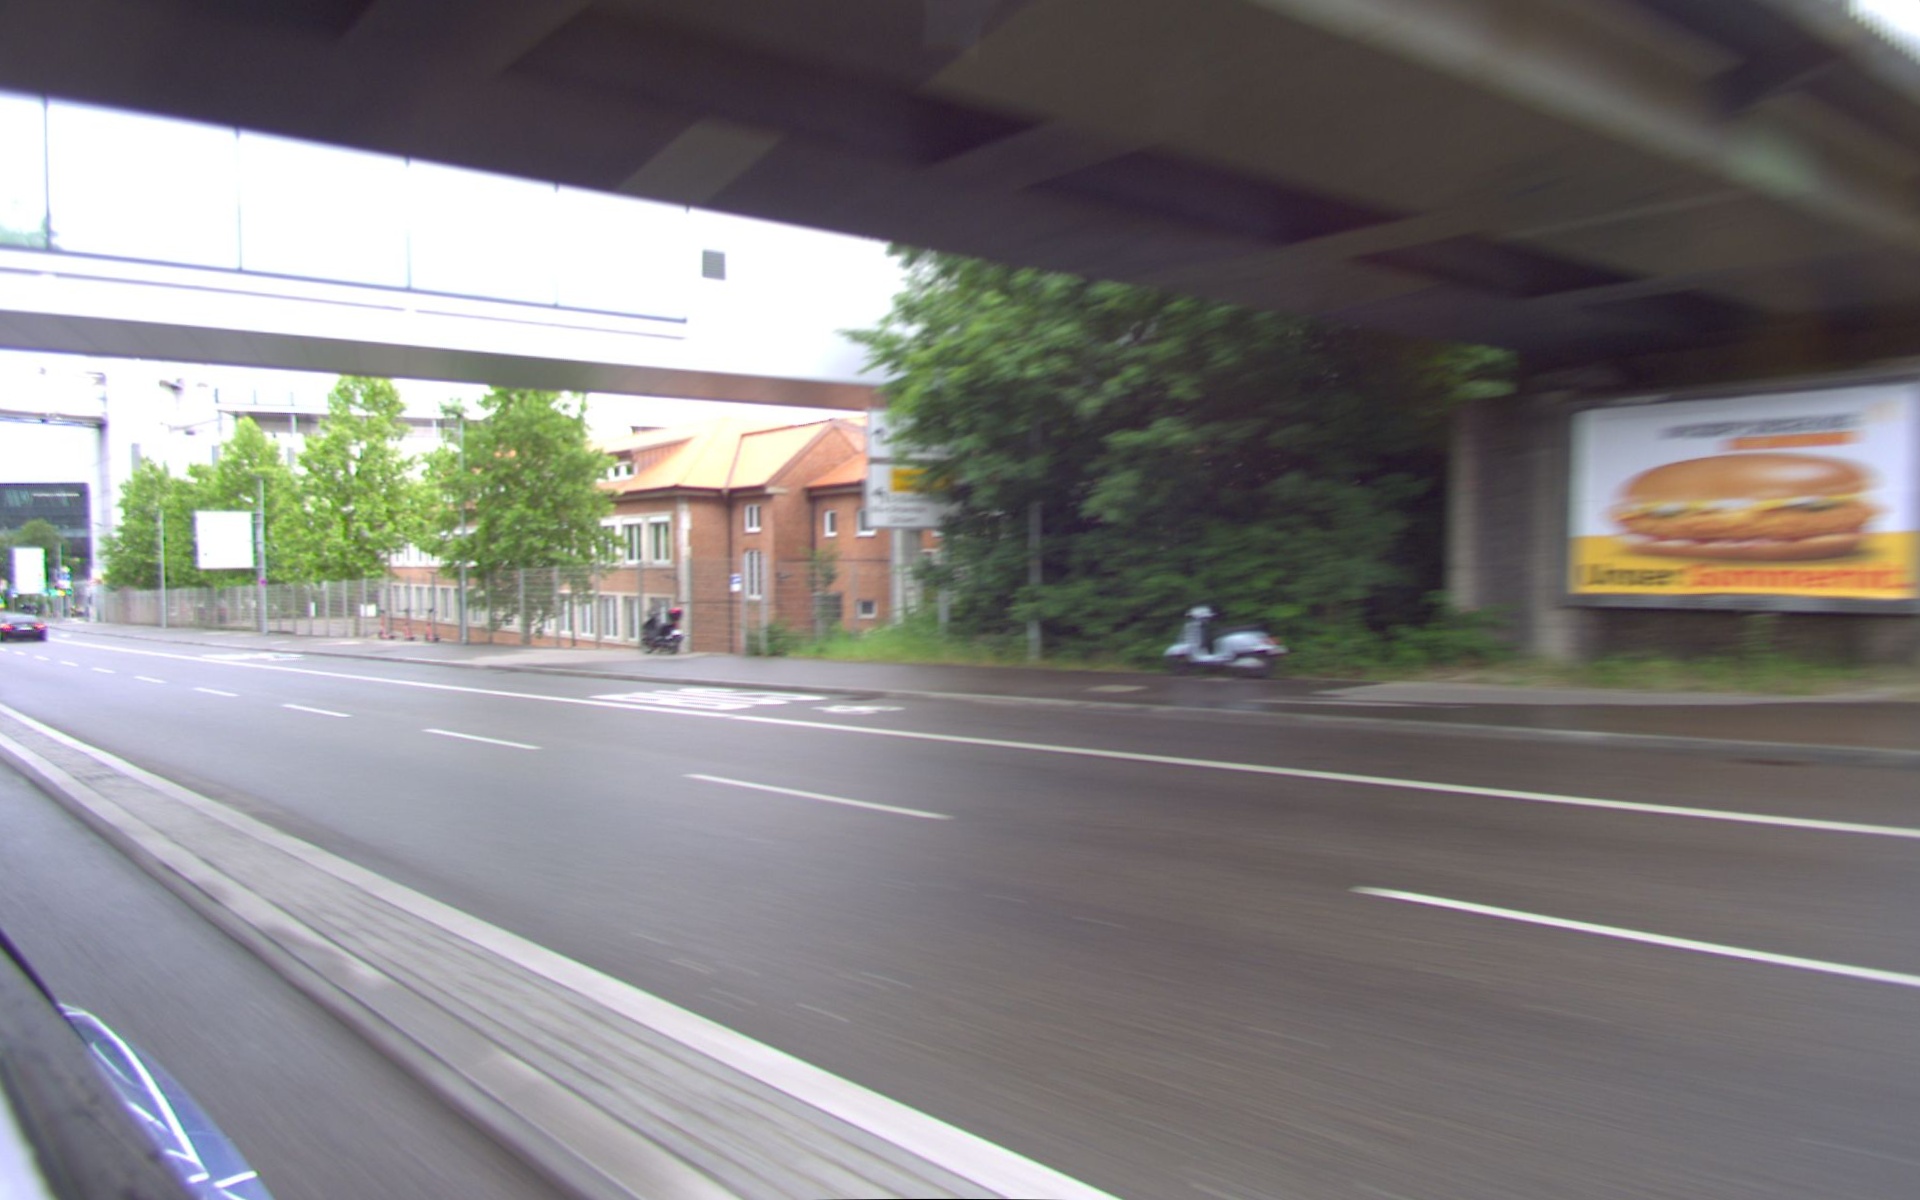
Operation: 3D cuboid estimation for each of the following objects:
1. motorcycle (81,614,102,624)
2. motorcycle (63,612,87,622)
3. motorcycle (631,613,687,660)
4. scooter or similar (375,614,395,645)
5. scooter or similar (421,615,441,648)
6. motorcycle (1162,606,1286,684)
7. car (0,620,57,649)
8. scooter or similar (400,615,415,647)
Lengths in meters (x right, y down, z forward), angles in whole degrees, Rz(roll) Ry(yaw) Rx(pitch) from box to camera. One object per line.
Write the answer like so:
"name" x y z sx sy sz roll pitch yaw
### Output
"motorcycle" -92.852 1.982 108.166 2.151 1.035 0.623 0 0 16
"motorcycle" -95.019 1.795 108.657 2.145 1.035 0.625 0 0 8
"motorcycle" -8.196 0.992 27.504 1.996 1.214 0.463 -2 0 42
"scooter or similar" -23.604 1.201 41.550 1.307 1.227 0.308 -1 0 42
"scooter or similar" -19.977 1.191 38.222 0.308 1.227 1.309 -1 0 -43
"motorcycle" 4.177 0.706 16.144 0.463 1.167 1.933 -1 0 -45
"car" -49.324 1.791 53.278 4.754 1.372 2.042 -1 0 41
"scooter or similar" -21.761 1.227 39.858 0.307 1.227 1.311 -1 0 -36
